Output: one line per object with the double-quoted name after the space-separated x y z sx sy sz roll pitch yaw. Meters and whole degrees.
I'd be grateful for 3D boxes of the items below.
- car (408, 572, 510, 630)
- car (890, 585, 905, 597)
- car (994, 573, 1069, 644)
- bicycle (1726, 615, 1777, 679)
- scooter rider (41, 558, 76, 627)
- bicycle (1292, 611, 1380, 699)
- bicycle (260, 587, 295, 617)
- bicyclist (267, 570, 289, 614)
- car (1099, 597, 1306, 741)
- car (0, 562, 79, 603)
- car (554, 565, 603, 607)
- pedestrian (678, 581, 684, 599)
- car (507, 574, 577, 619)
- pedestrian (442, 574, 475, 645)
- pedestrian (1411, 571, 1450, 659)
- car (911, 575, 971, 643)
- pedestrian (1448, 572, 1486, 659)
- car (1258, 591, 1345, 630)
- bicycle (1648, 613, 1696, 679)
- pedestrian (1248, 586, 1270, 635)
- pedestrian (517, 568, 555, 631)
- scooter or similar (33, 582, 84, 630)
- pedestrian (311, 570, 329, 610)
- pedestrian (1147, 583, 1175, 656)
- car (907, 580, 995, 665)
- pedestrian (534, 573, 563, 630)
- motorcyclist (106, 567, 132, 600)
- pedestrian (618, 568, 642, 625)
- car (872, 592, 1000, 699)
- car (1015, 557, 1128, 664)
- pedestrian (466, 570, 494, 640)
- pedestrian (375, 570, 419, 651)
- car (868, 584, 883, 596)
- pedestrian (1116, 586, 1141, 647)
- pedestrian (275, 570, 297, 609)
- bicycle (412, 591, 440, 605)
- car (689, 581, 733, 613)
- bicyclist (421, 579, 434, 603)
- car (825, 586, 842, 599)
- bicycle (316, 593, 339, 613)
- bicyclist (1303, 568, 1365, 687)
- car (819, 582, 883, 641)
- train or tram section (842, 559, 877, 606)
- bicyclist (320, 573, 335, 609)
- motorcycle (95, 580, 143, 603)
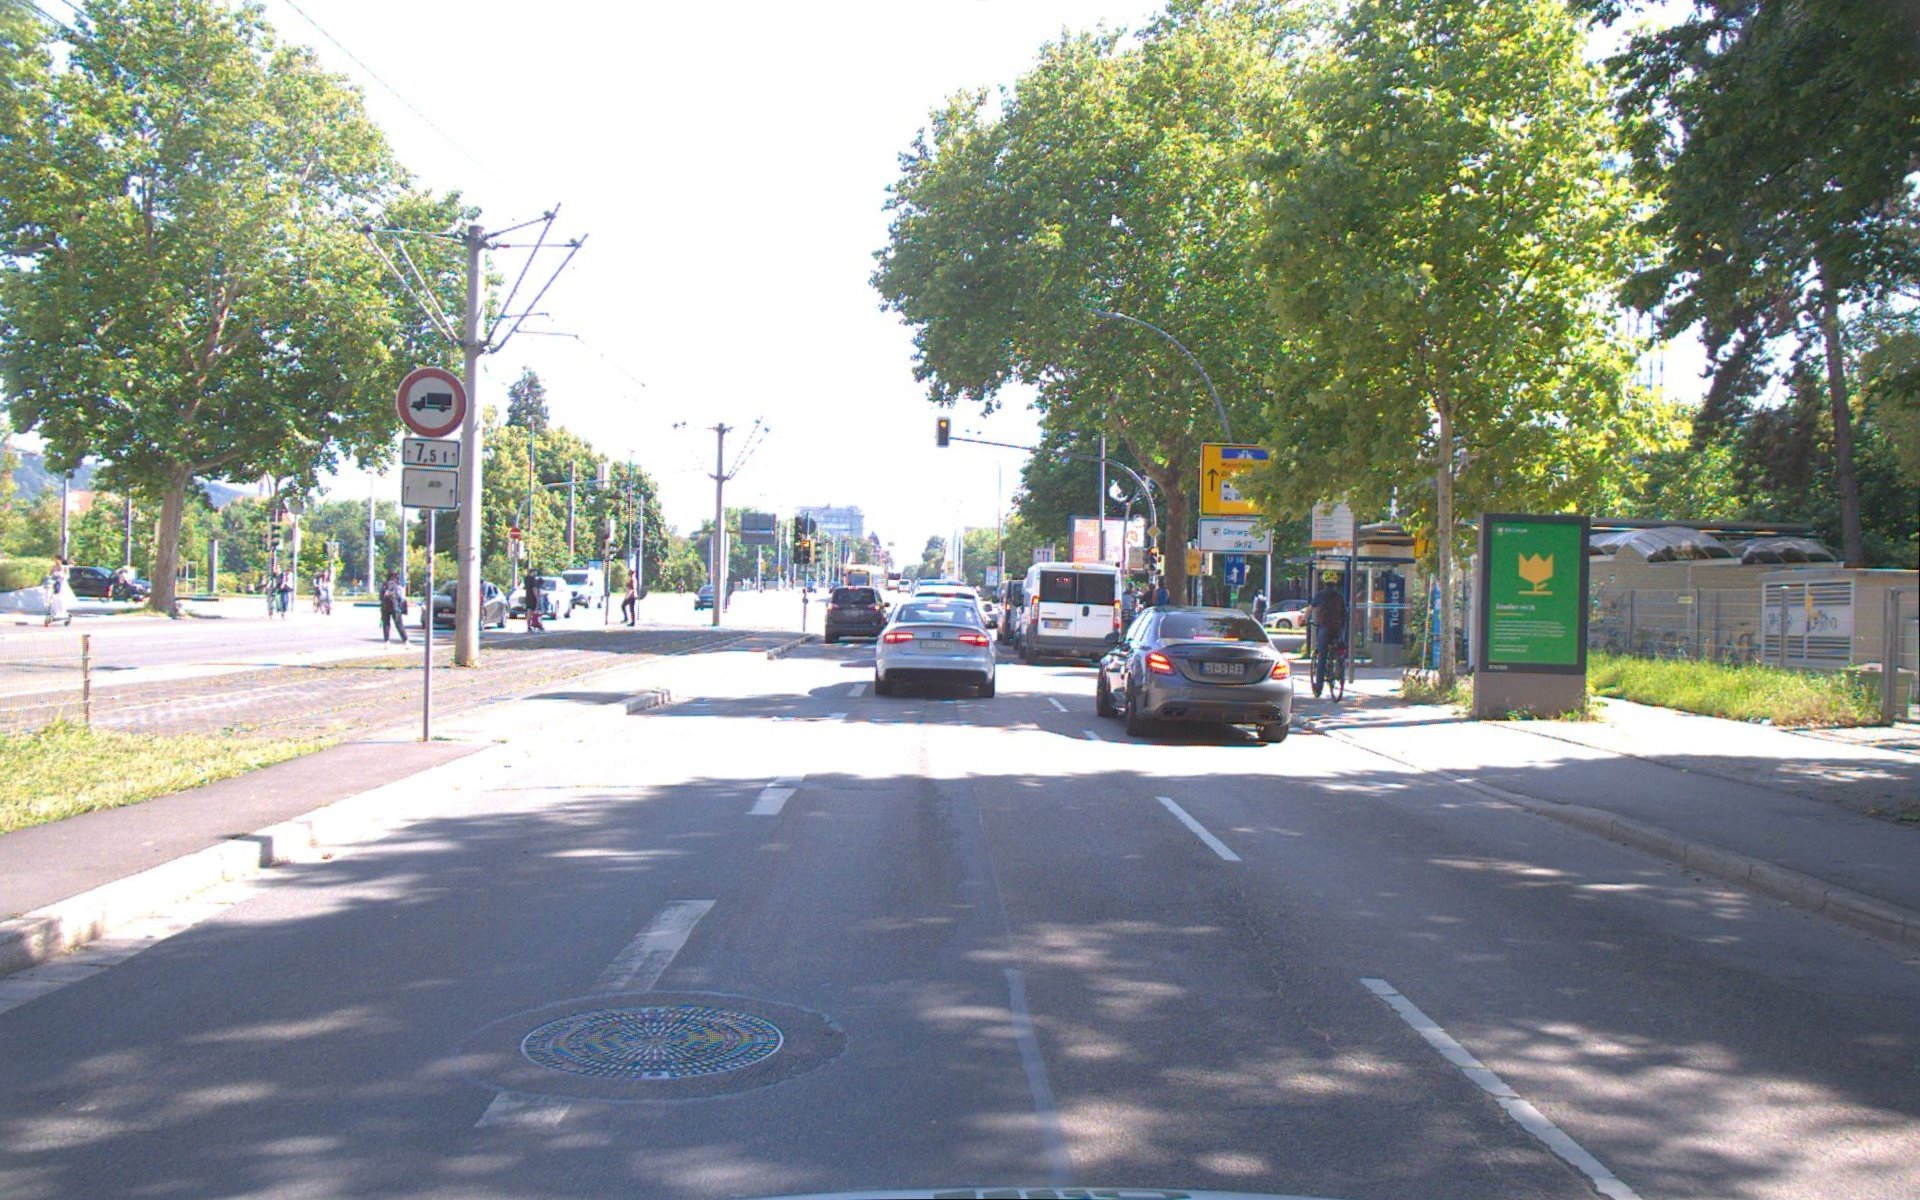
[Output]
-15.120 0.011 50.130 1.833 1.637 4.000 2 0 -1 "car"
-8.905 -1.225 235.599 1.832 1.637 4.001 2 0 1 "car"
2.170 0.248 51.207 2.030 2.034 4.057 2 0 -1 "car"
15.277 0.896 31.942 0.381 1.201 1.173 2 0 -1 "bicycle"
-22.186 -0.184 40.719 0.496 1.660 0.566 2 0 -1 "scooter rider"
5.450 0.773 24.112 0.700 1.168 2.177 -1 0 -2 "bicycle"
-22.859 0.077 55.399 0.474 0.978 1.654 2 0 -1 "bicycle"
-22.833 -0.273 55.355 0.470 1.441 0.592 2 0 -1 "bicyclist"
2.713 0.719 19.360 1.746 1.445 3.999 2 0 -1 "car"
-38.165 -0.742 67.132 3.769 1.576 1.769 2 0 -1 "car"
-23.142 -0.839 100.479 2.071 2.424 4.000 1 0 -1 "car"
-25.377 -0.906 150.551 0.412 1.576 0.552 2 0 -1 "pedestrian"
-16.280 -0.132 64.631 1.728 1.637 3.860 2 0 -1 "car"
-12.111 0.224 39.974 0.581 1.675 0.554 2 0 -1 "pedestrian"
10.512 0.329 36.959 0.601 1.929 0.694 1 0 -4 "pedestrian"
-0.574 0.249 50.242 1.694 1.935 3.999 2 0 -1 "car"
11.335 0.346 36.991 0.601 1.929 0.597 1 0 -4 "pedestrian"
16.108 0.506 78.085 3.700 1.701 1.793 2 0 0 "car"
13.561 0.864 31.518 0.381 1.201 1.173 2 0 -1 "bicycle"
11.301 0.388 62.524 0.761 1.819 0.764 1 0 11 "pedestrian"
-12.009 -0.019 46.900 0.758 1.764 0.755 2 0 7 "pedestrian"
-22.196 0.143 40.734 0.536 1.132 1.248 2 0 -1 "scooter or similar"
-25.930 -0.401 66.973 0.613 1.569 0.778 2 0 -20 "pedestrian"
5.573 0.538 45.958 0.622 1.980 0.719 2 0 -1 "pedestrian"
-0.210 0.430 34.576 1.694 1.633 3.884 2 0 -1 "car"
-11.848 0.052 47.648 0.526 1.626 0.578 2 0 18 "pedestrian"
-34.942 -0.693 68.728 0.737 1.337 0.604 2 0 -1 "motorcyclist"
-11.356 -0.126 56.949 0.611 1.951 0.689 2 0 -1 "pedestrian"
-0.359 0.622 25.120 1.748 1.445 3.884 2 0 -1 "car"
2.476 0.209 37.896 2.184 2.250 4.161 2 0 -1 "car"
-11.905 0.126 41.032 0.482 1.708 0.643 2 0 -1 "pedestrian"
-11.702 0.214 34.366 0.748 1.651 0.590 2 0 -26 "pedestrian"
-12.024 -1.378 235.708 1.832 1.637 4.001 2 0 1 "car"
4.852 0.460 47.531 0.590 1.724 0.953 -1 0 -1 "pedestrian"
-27.394 -0.432 67.227 0.610 1.569 0.644 2 0 -2 "pedestrian"
-29.669 -0.105 91.913 0.482 0.744 1.619 2 0 27 "bicycle"
-14.521 -0.191 96.557 1.953 1.764 4.000 2 0 -1 "car"
-29.611 -0.514 91.995 0.464 1.314 0.496 2 0 28 "bicyclist"
-16.503 -0.961 215.802 1.954 1.670 3.998 2 0 -2 "car"
-23.814 0.107 62.295 0.412 0.761 1.146 2 0 -1 "bicycle"
5.432 0.388 24.043 0.621 1.677 0.979 -1 0 -2 "bicyclist"
-3.260 0.324 50.075 1.694 1.659 3.999 2 0 -1 "car"
-9.007 -1.546 148.582 2.563 4.085 7.748 2 0 -1 "train or tram section"
-23.809 -0.332 62.269 0.377 1.334 0.466 2 0 -1 "bicyclist"
-34.944 -0.333 68.728 1.610 0.906 0.650 2 0 -1 "motorcycle"
